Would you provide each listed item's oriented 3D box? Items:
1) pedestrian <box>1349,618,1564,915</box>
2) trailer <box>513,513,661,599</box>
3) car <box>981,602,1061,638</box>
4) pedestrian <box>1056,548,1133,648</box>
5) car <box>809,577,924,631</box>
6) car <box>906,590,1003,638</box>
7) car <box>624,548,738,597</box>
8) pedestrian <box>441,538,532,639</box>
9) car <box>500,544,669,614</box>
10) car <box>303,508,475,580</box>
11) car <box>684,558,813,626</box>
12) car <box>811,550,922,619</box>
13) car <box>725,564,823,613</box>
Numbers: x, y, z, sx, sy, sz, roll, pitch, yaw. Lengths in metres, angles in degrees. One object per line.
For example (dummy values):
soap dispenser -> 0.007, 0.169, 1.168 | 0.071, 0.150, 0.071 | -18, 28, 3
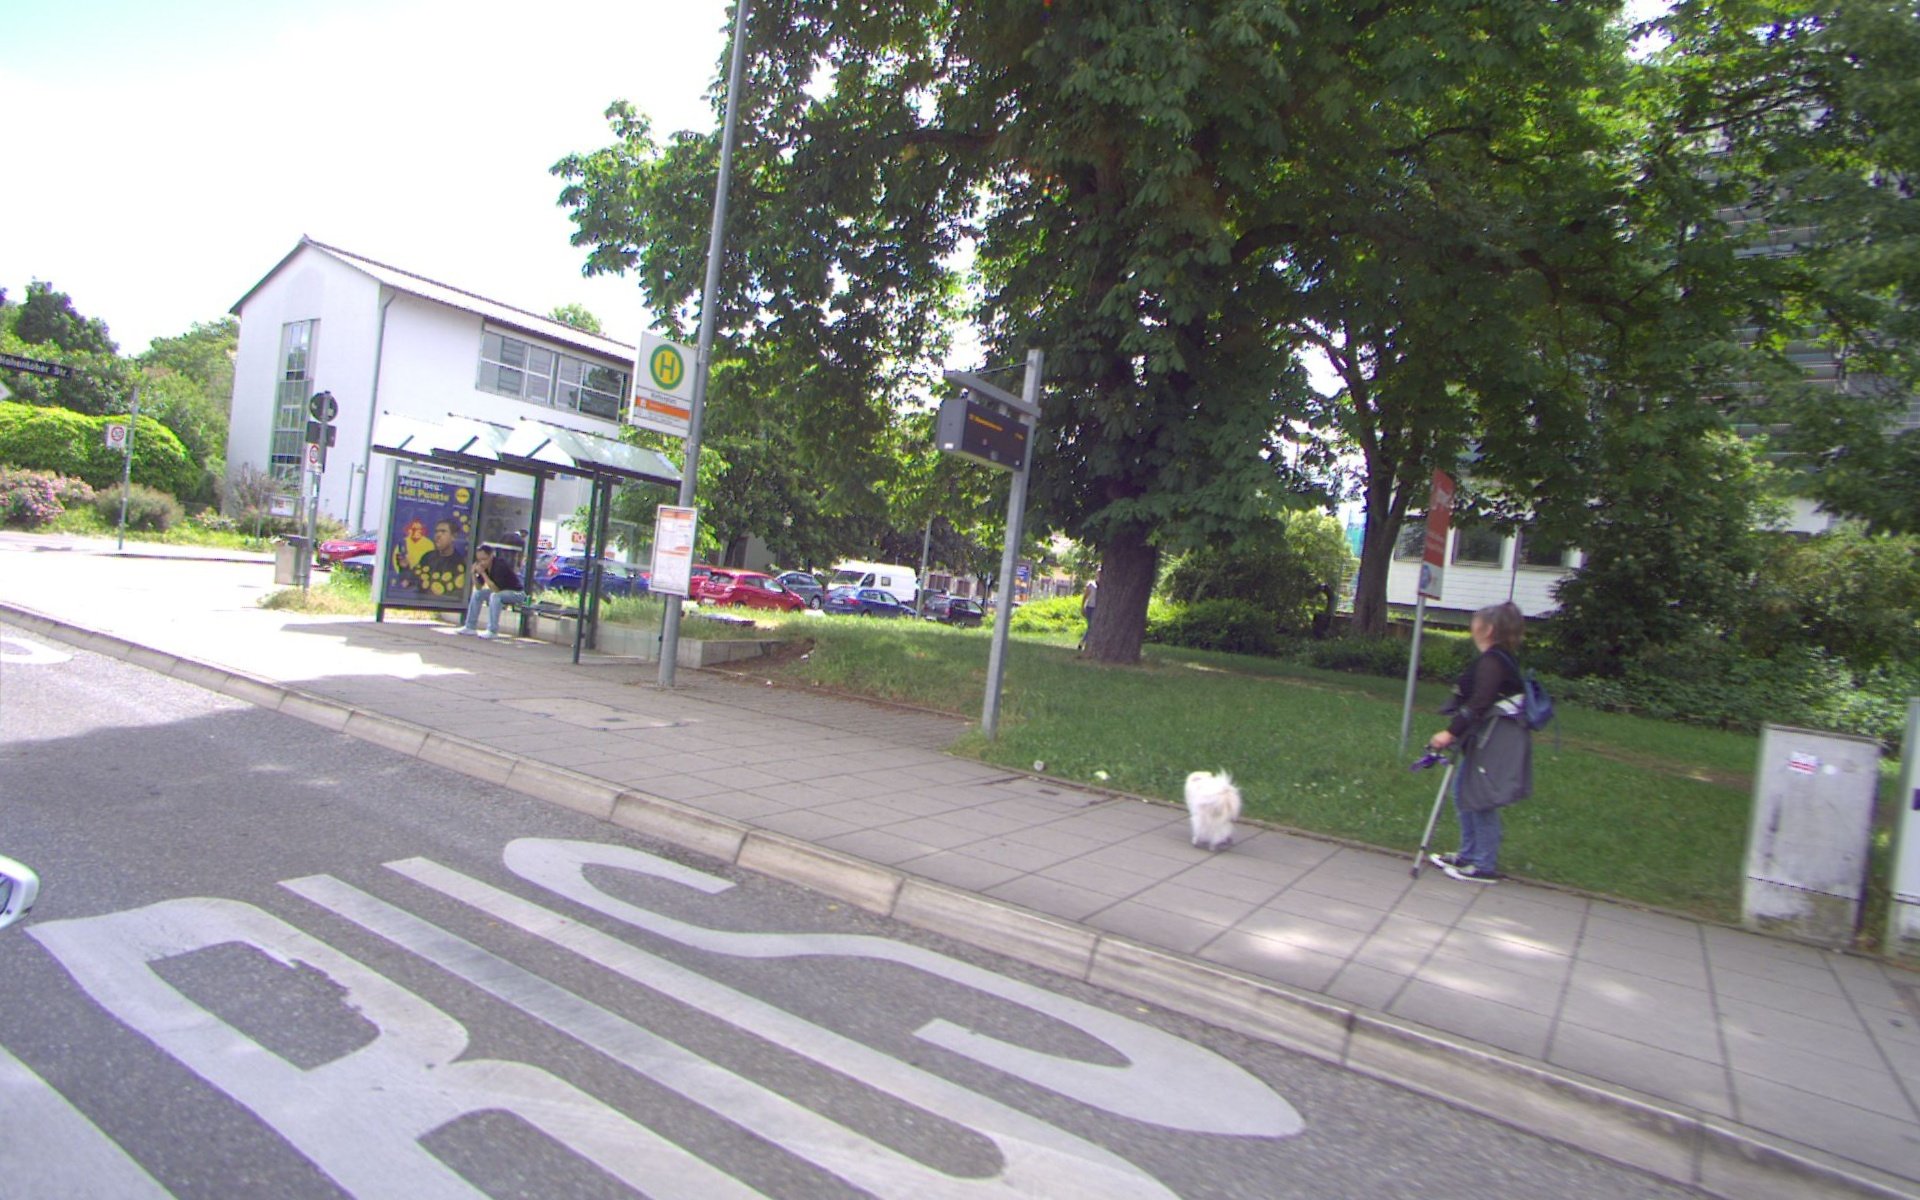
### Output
pedestrian -> 2.798, 0.876, 5.654 | 0.817, 1.442, 0.819 | 6, 1, 37
trailer -> -13.832, -1.593, 37.525 | 2.186, 2.518, 4.538 | 9, 1, 35
car -> 2.852, 0.932, 45.974 | 1.838, 1.303, 3.989 | 7, 0, 32
pedestrian -> 2.551, -0.036, 19.088 | 0.982, 1.782, 0.848 | 5, 1, -43
car -> -3.378, 0.175, 37.076 | 1.968, 1.579, 4.080 | 7, 1, 33
car -> -0.189, 0.610, 41.656 | 1.968, 1.579, 4.080 | 7, 1, 33
car -> -11.348, -1.085, 41.098 | 1.968, 1.522, 4.079 | 8, 2, 35
pedestrian -> -6.491, -0.150, 13.807 | 0.676, 1.275, 0.826 | 7, 1, 40
car -> -10.064, -0.532, 27.191 | 1.866, 1.476, 3.792 | 8, 2, 34
car -> -17.785, -1.700, 31.521 | 1.967, 1.581, 4.160 | 10, 2, 32
car -> -6.710, -0.218, 32.216 | 1.800, 1.664, 3.688 | 8, 1, 35
car -> -4.591, -0.716, 50.524 | 2.170, 2.902, 5.575 | 7, 1, 36
car -> -8.332, -0.490, 45.273 | 1.880, 1.745, 3.984 | 7, 1, 38
